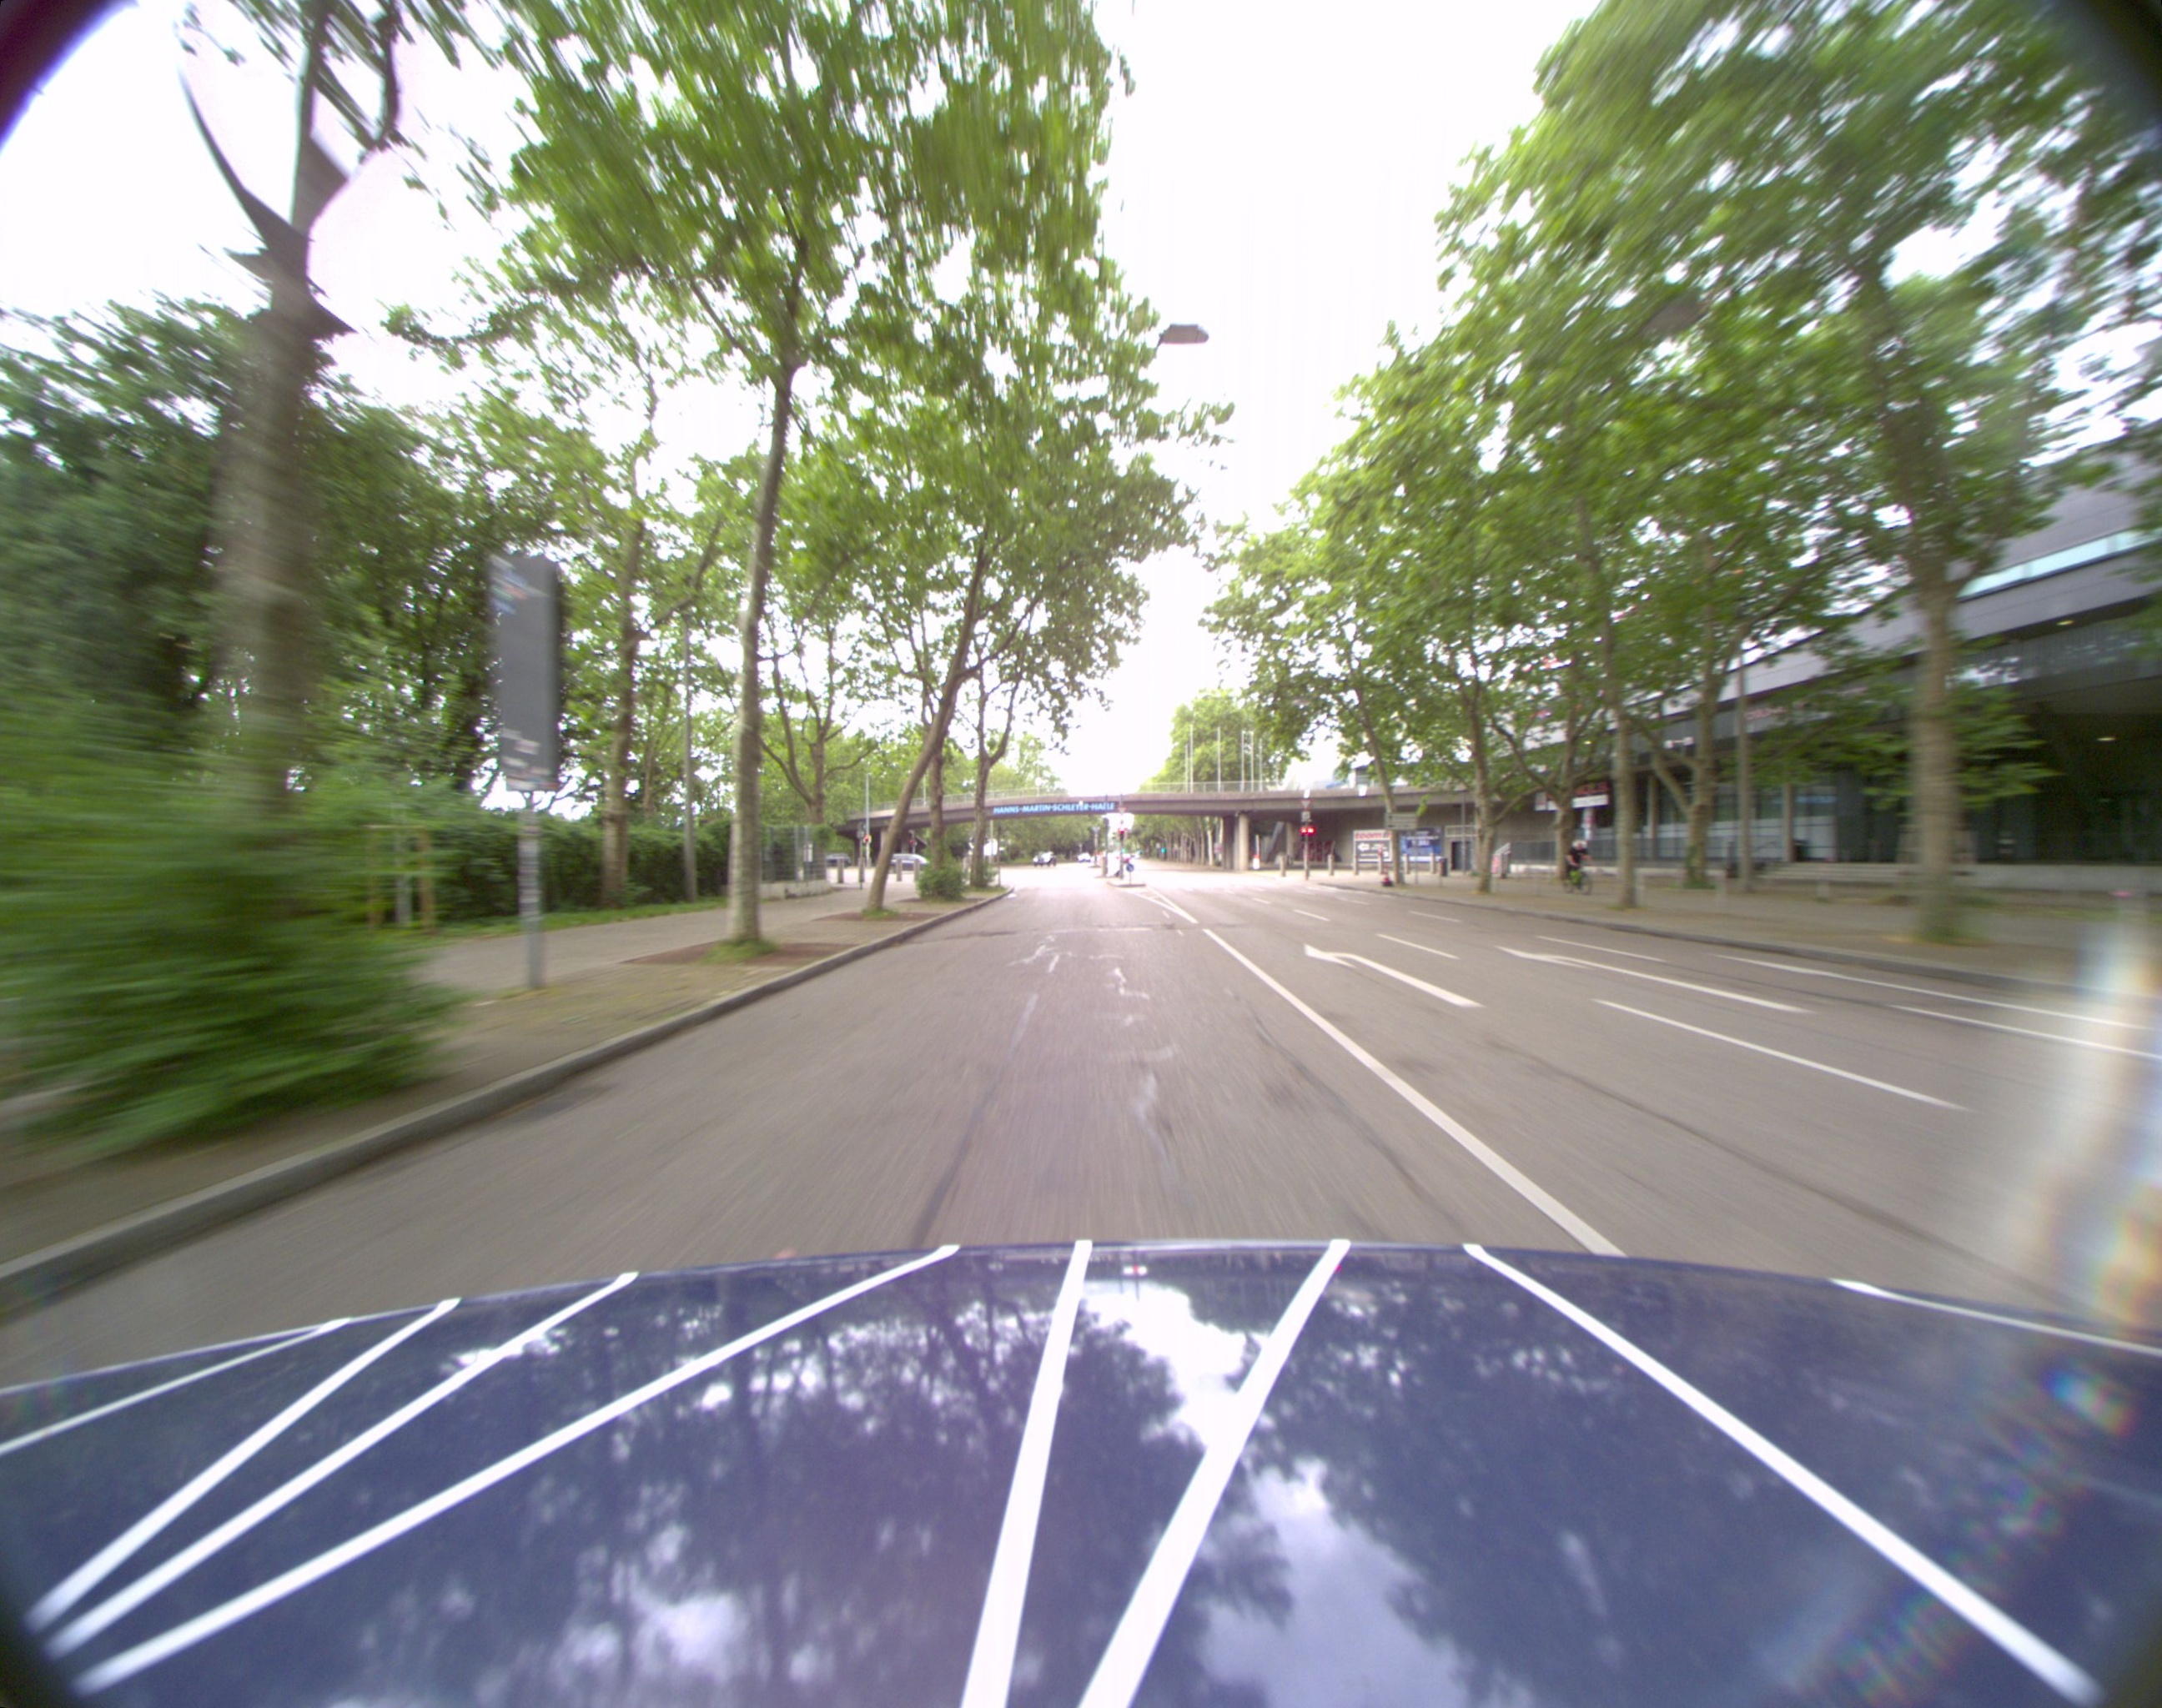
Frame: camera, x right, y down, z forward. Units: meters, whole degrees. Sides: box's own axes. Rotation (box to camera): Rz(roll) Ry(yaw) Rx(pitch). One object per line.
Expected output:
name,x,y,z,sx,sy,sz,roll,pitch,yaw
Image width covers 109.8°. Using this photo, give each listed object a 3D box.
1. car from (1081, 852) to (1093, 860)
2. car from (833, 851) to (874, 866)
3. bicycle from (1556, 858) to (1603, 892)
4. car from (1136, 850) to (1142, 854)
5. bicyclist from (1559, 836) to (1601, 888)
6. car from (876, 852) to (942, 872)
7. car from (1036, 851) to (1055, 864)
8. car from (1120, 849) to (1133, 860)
car,1.076,0.333,135.441,1.761,1.356,3.717,1,2,7
car,-21.818,0.433,72.897,3.720,1.314,1.760,0,2,-20
bicycle,16.479,0.676,25.146,0.516,1.007,1.537,0,2,0
car,18.496,-0.741,242.411,1.614,1.305,3.396,0,1,4
bicyclist,16.488,0.252,25.131,0.766,1.688,0.854,0,3,0
car,-13.194,0.615,58.440,4.684,1.437,1.887,-1,1,-3
car,-4.098,0.435,88.212,1.761,1.356,3.716,1,2,4
car,6.495,0.027,108.380,1.832,1.443,4.077,0,1,5
